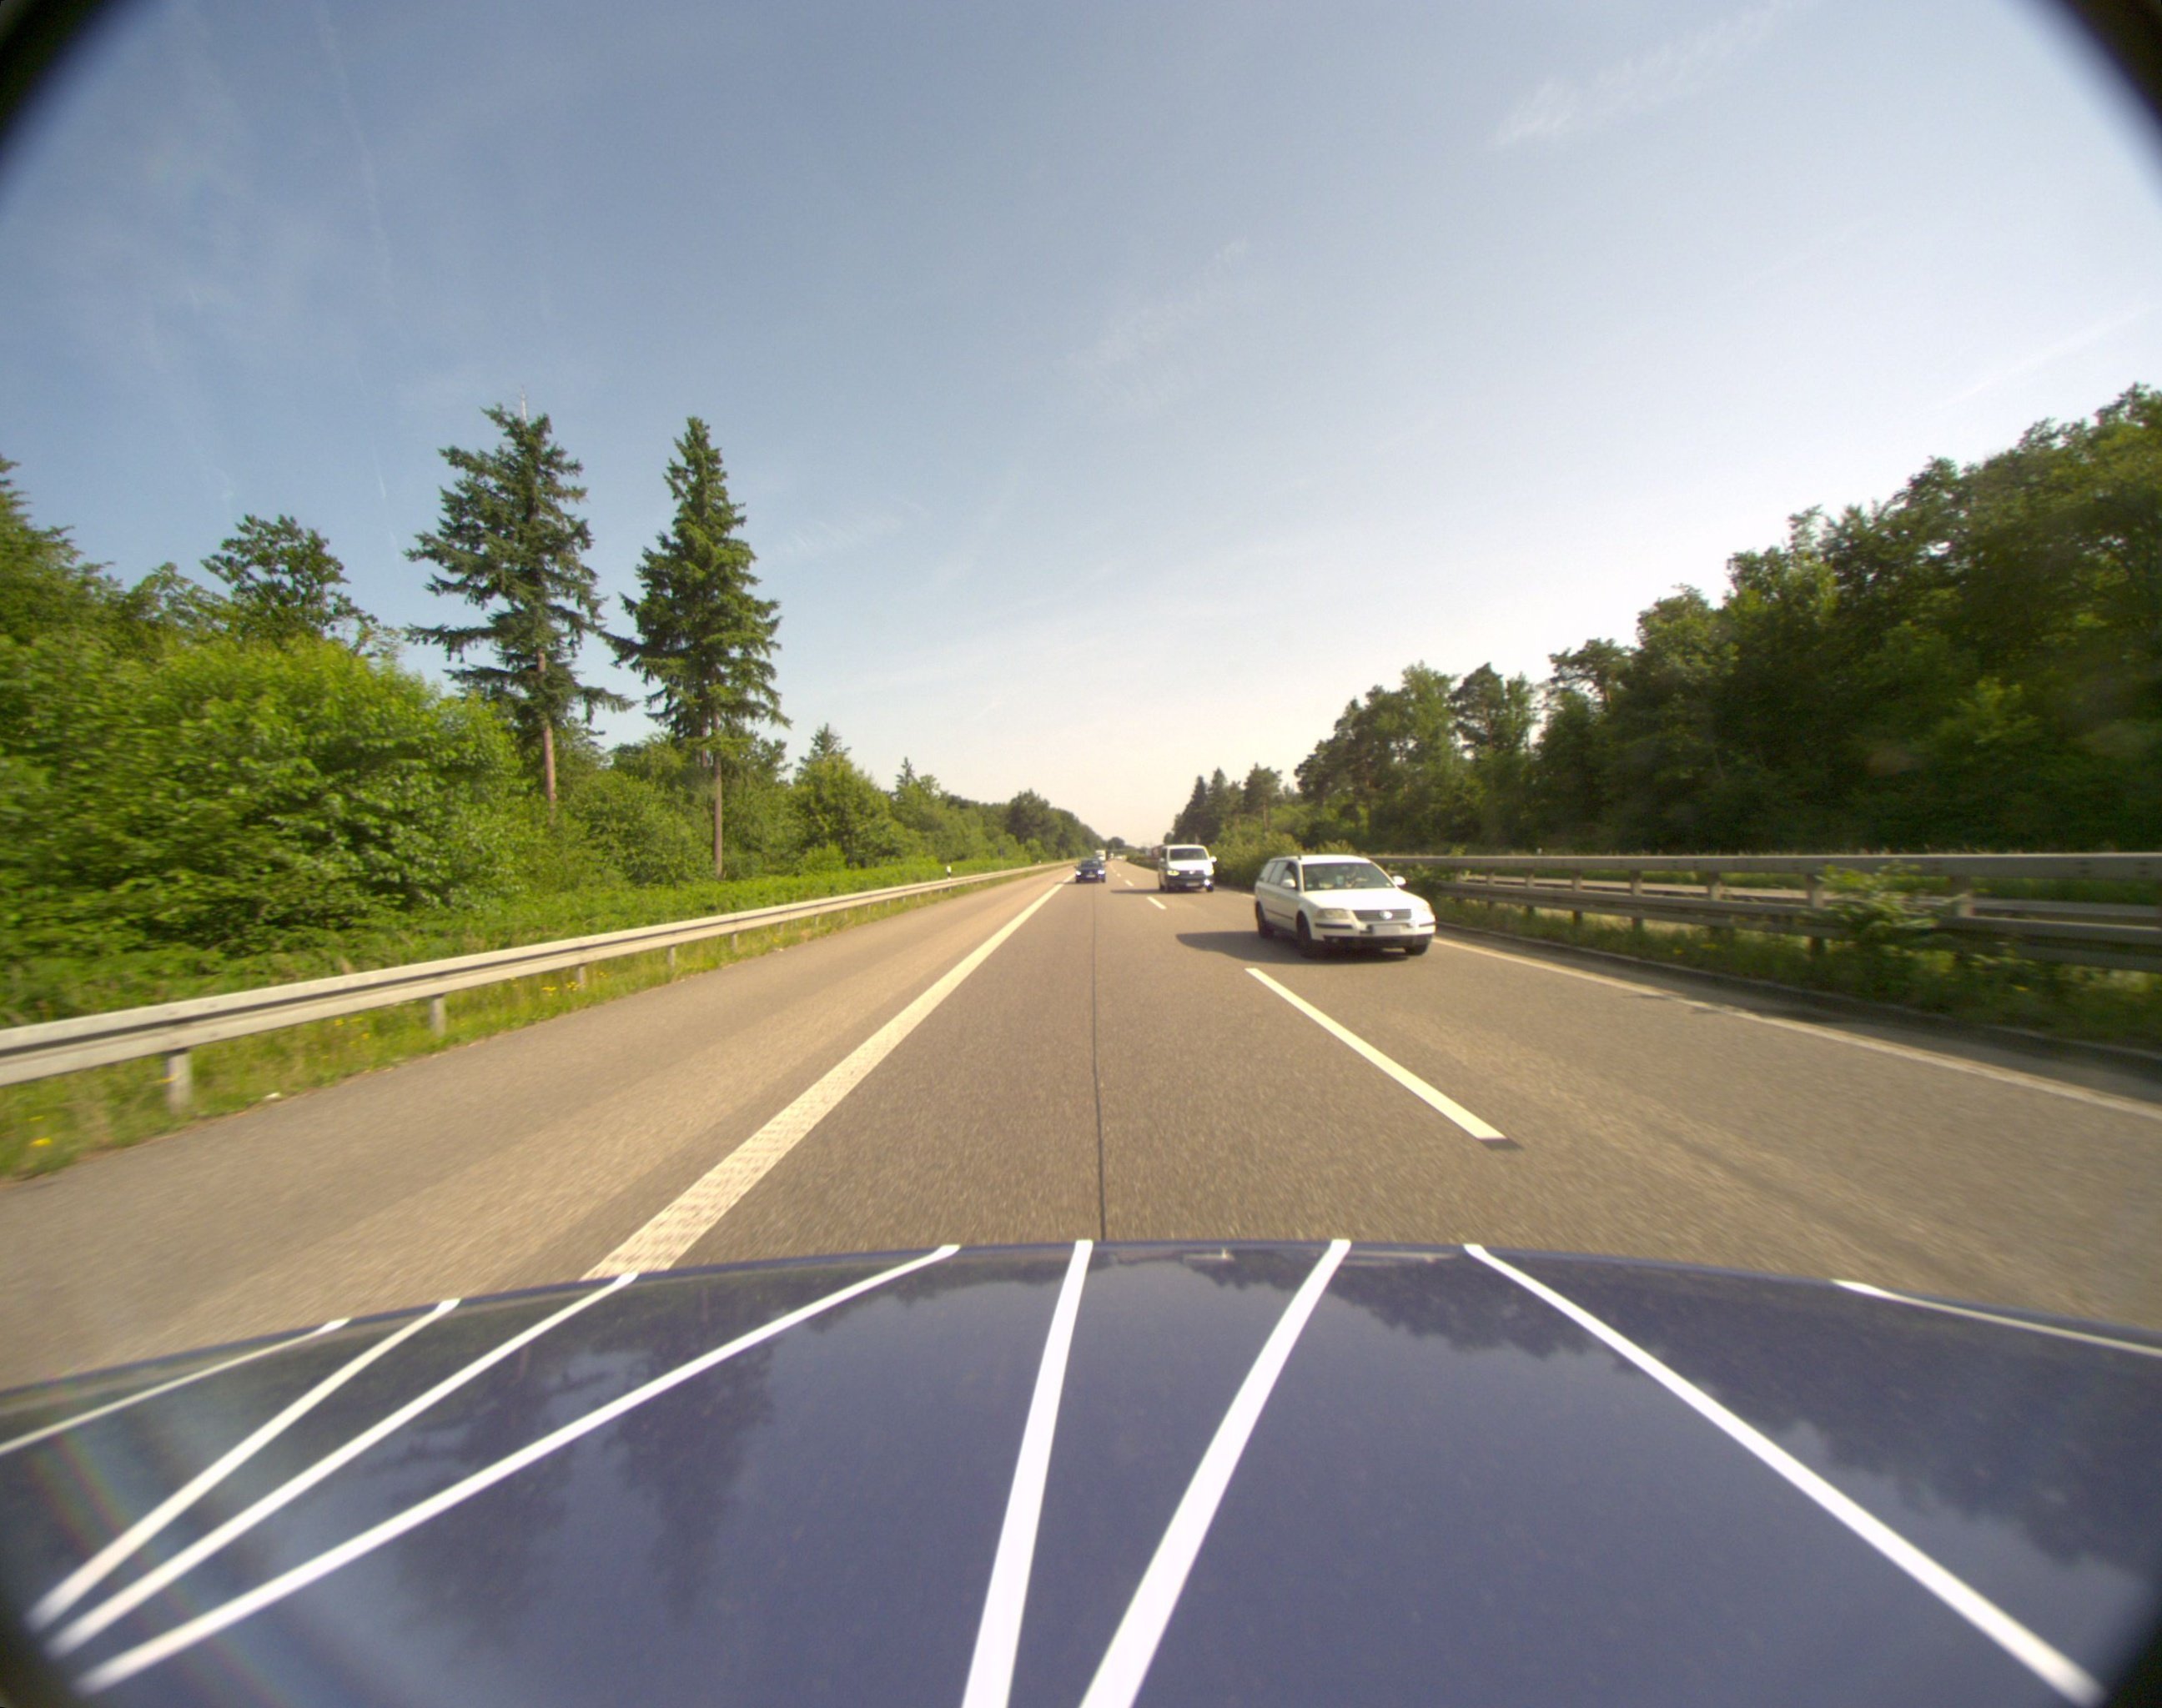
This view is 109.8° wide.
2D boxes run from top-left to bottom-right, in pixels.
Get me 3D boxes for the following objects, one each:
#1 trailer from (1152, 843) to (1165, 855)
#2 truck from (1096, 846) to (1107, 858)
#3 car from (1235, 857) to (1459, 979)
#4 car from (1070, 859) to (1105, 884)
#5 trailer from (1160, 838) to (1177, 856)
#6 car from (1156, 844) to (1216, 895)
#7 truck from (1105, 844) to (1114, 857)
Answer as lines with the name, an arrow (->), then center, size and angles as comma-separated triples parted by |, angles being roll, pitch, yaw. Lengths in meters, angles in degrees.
trailer -> 25.537, -1.692, 251.430 | 3.303, 4.016, 8.373 | -2, 1, 1
truck -> 5.235, -0.536, 193.068 | 2.694, 3.020, 10.373 | -2, 0, 2
car -> 3.959, 0.835, 12.419 | 1.754, 1.477, 5.263 | -2, 0, 0
car -> 0.398, 0.963, 43.330 | 1.788, 1.285, 3.539 | -2, 0, 3
trailer -> 21.170, -1.601, 185.186 | 2.839, 4.184, 12.411 | -1, 0, 1
car -> 4.325, 0.595, 32.003 | 1.912, 1.934, 4.706 | -2, 0, 1
truck -> 9.377, -1.135, 252.298 | 2.694, 4.061, 12.366 | -2, 0, 2
